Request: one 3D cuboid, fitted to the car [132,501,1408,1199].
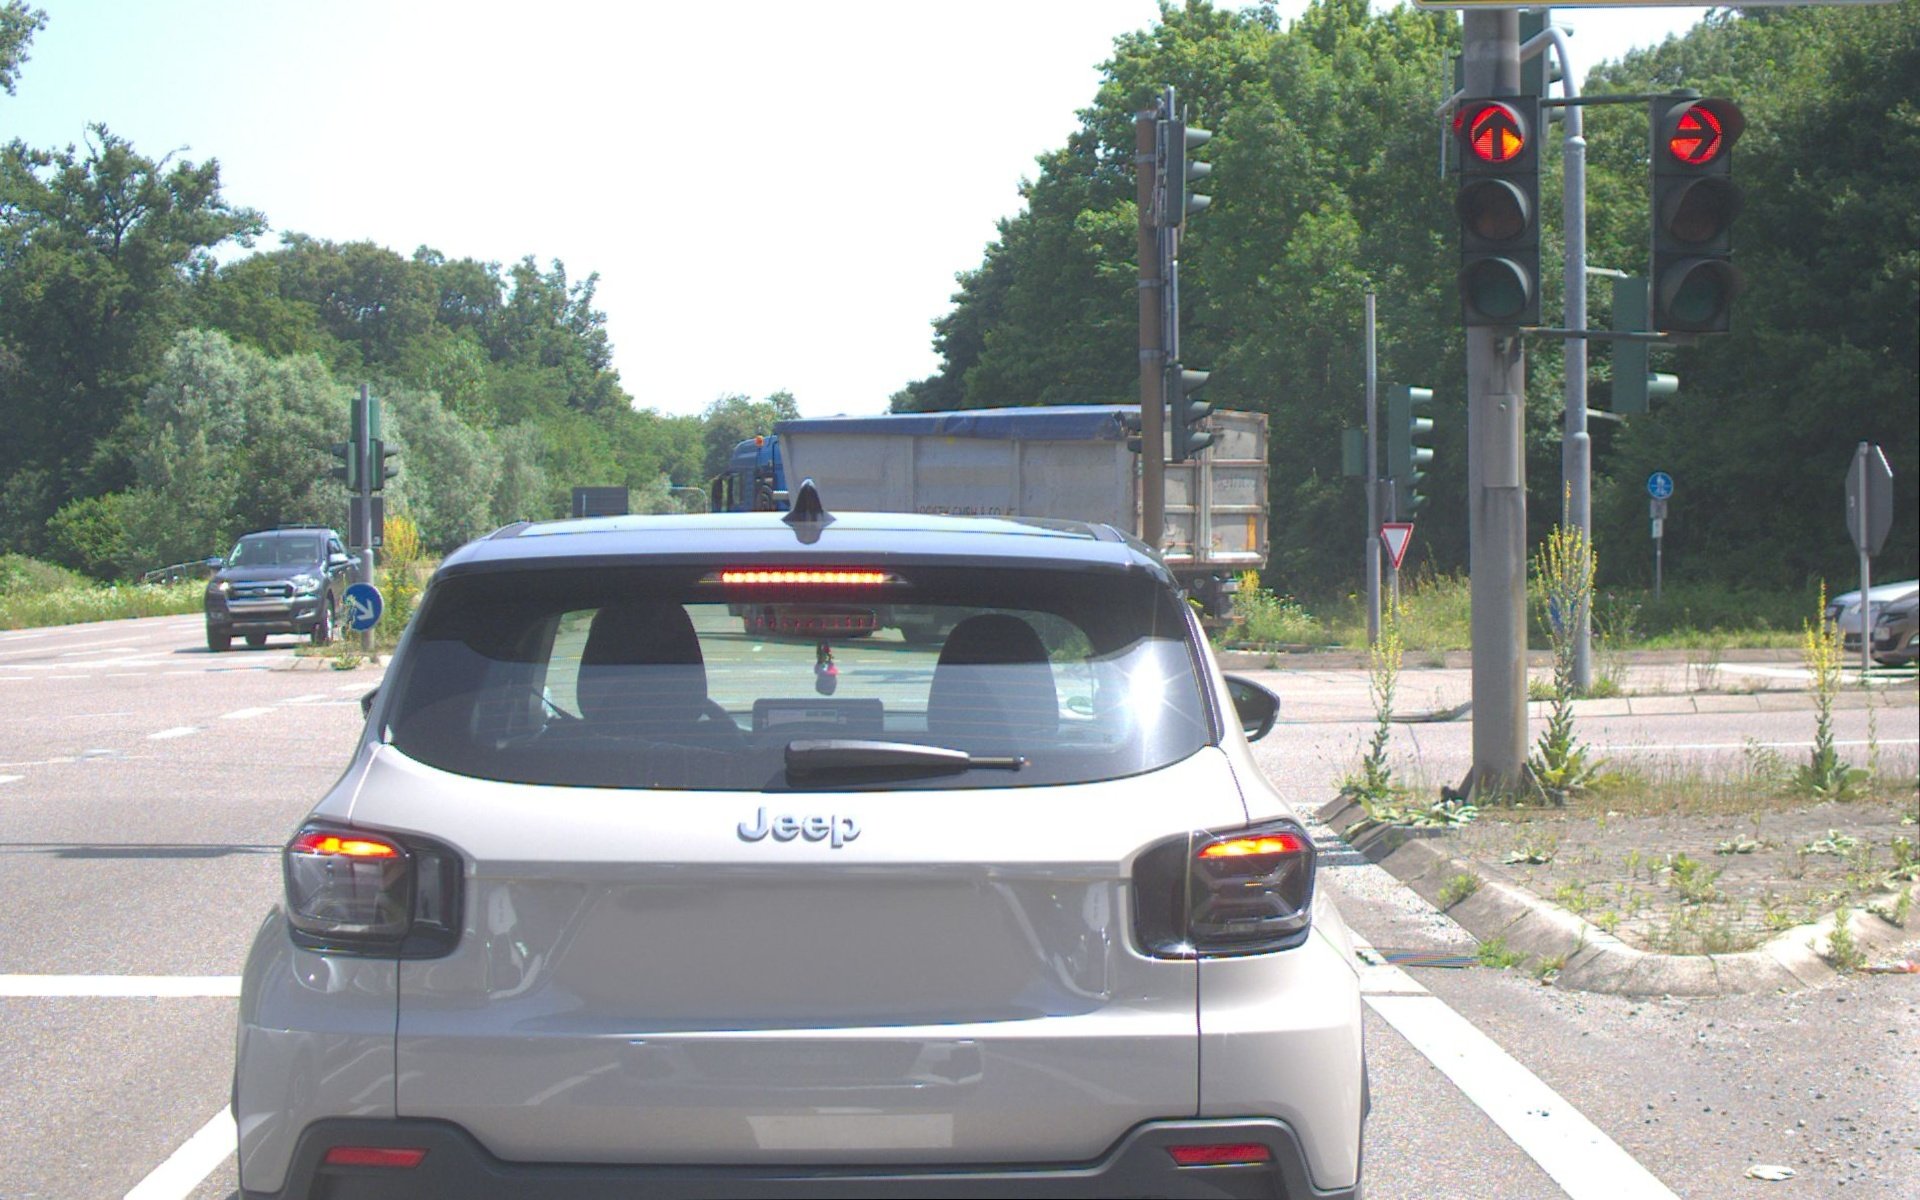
[{"bbox_3d":[-0.287,0.594,6.773,1.767,1.529,4.000,0,1,-1],"label":"car"}]

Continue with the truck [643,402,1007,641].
[{"bbox_3d":[-2.477,-1.353,60.770,3.333,3.975,6.532,0,1,-36],"label":"truck"}]

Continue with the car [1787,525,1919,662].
[{"bbox_3d":[12.065,-0.100,38.845,4.932,1.493,2.020,-1,0,0],"label":"car"}]

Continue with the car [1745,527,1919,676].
[{"bbox_3d":[10.360,-0.030,35.229,4.091,1.442,1.996,-1,1,-3],"label":"car"}]

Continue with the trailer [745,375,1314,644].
[{"bbox_3d":[0.858,-1.412,56.065,3.383,3.975,10.802,0,1,-36],"label":"trailer"}]

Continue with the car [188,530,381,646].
[{"bbox_3d":[-10.547,-0.222,54.063,1.993,1.672,5.366,-2,1,-1],"label":"car"}]

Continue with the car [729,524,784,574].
[{"bbox_3d":[-8.449,-2.138,143.060,1.993,2.007,4.554,-1,1,0],"label":"car"}]
